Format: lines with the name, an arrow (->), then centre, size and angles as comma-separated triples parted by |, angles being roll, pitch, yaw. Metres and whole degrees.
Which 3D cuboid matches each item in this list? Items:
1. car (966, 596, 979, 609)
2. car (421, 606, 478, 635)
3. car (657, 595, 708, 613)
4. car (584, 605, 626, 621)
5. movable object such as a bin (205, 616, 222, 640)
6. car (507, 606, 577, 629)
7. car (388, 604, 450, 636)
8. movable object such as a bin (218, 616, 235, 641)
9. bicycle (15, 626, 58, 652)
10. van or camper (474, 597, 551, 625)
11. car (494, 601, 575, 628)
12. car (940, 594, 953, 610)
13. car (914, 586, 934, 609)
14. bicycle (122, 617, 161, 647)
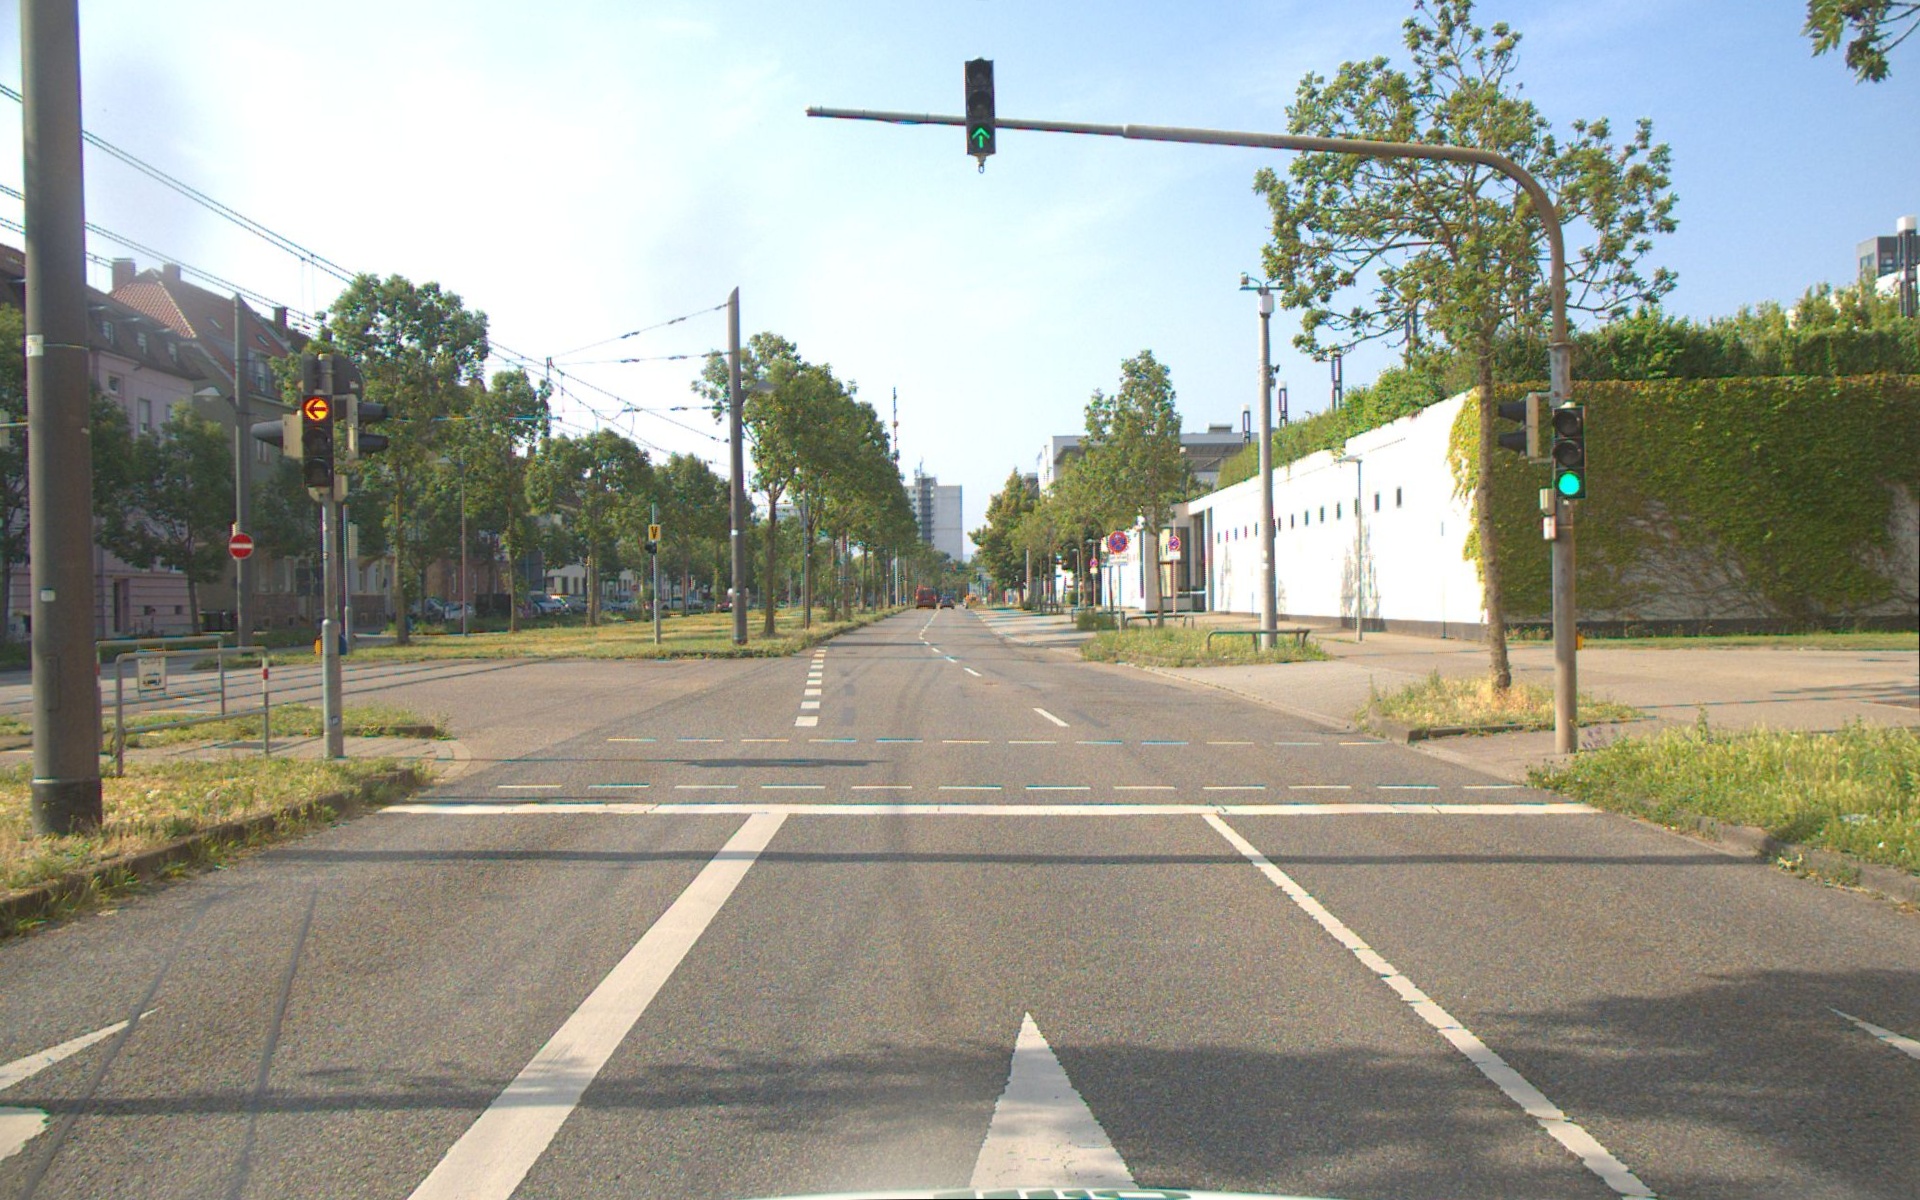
car -> 1.647, 0.335, 223.663 | 1.712, 1.679, 3.215 | 1, -1, 1
car -> -29.832, 1.187, 96.764 | 1.850, 1.657, 4.157 | 1, 0, 2
car -> -28.364, 0.391, 168.950 | 5.217, 1.768, 1.994 | 1, -1, 34
car -> -27.824, 0.997, 129.619 | 3.097, 1.181, 1.493 | 1, -1, 32
movable object such as a bin -> -38.408, 1.455, 85.136 | 0.573, 1.232, 0.640 | 1, -1, -2
car -> -27.818, 1.143, 110.097 | 4.379, 1.444, 1.971 | 1, -1, 30
car -> -29.758, 1.096, 91.088 | 1.953, 1.657, 4.773 | 1, 0, -2
movable object such as a bin -> -37.748, 1.468, 85.171 | 0.573, 1.232, 0.640 | 1, -1, -2
bicycle -> -32.377, 1.367, 58.006 | 0.438, 0.872, 1.947 | 1, -1, -2
van or camper -> -28.264, 0.690, 104.354 | 4.748, 1.652, 1.997 | 1, -1, 33
car -> -27.558, 0.930, 107.020 | 5.108, 1.652, 2.052 | 1, -1, 30
car -> -1.767, 0.266, 218.315 | 1.712, 2.049, 3.215 | 1, -1, 1
car -> -3.280, -0.187, 152.444 | 1.712, 2.049, 3.215 | 1, -1, 1
bicycle -> -32.432, 1.263, 65.561 | 0.592, 1.147, 1.947 | 1, -1, -2
